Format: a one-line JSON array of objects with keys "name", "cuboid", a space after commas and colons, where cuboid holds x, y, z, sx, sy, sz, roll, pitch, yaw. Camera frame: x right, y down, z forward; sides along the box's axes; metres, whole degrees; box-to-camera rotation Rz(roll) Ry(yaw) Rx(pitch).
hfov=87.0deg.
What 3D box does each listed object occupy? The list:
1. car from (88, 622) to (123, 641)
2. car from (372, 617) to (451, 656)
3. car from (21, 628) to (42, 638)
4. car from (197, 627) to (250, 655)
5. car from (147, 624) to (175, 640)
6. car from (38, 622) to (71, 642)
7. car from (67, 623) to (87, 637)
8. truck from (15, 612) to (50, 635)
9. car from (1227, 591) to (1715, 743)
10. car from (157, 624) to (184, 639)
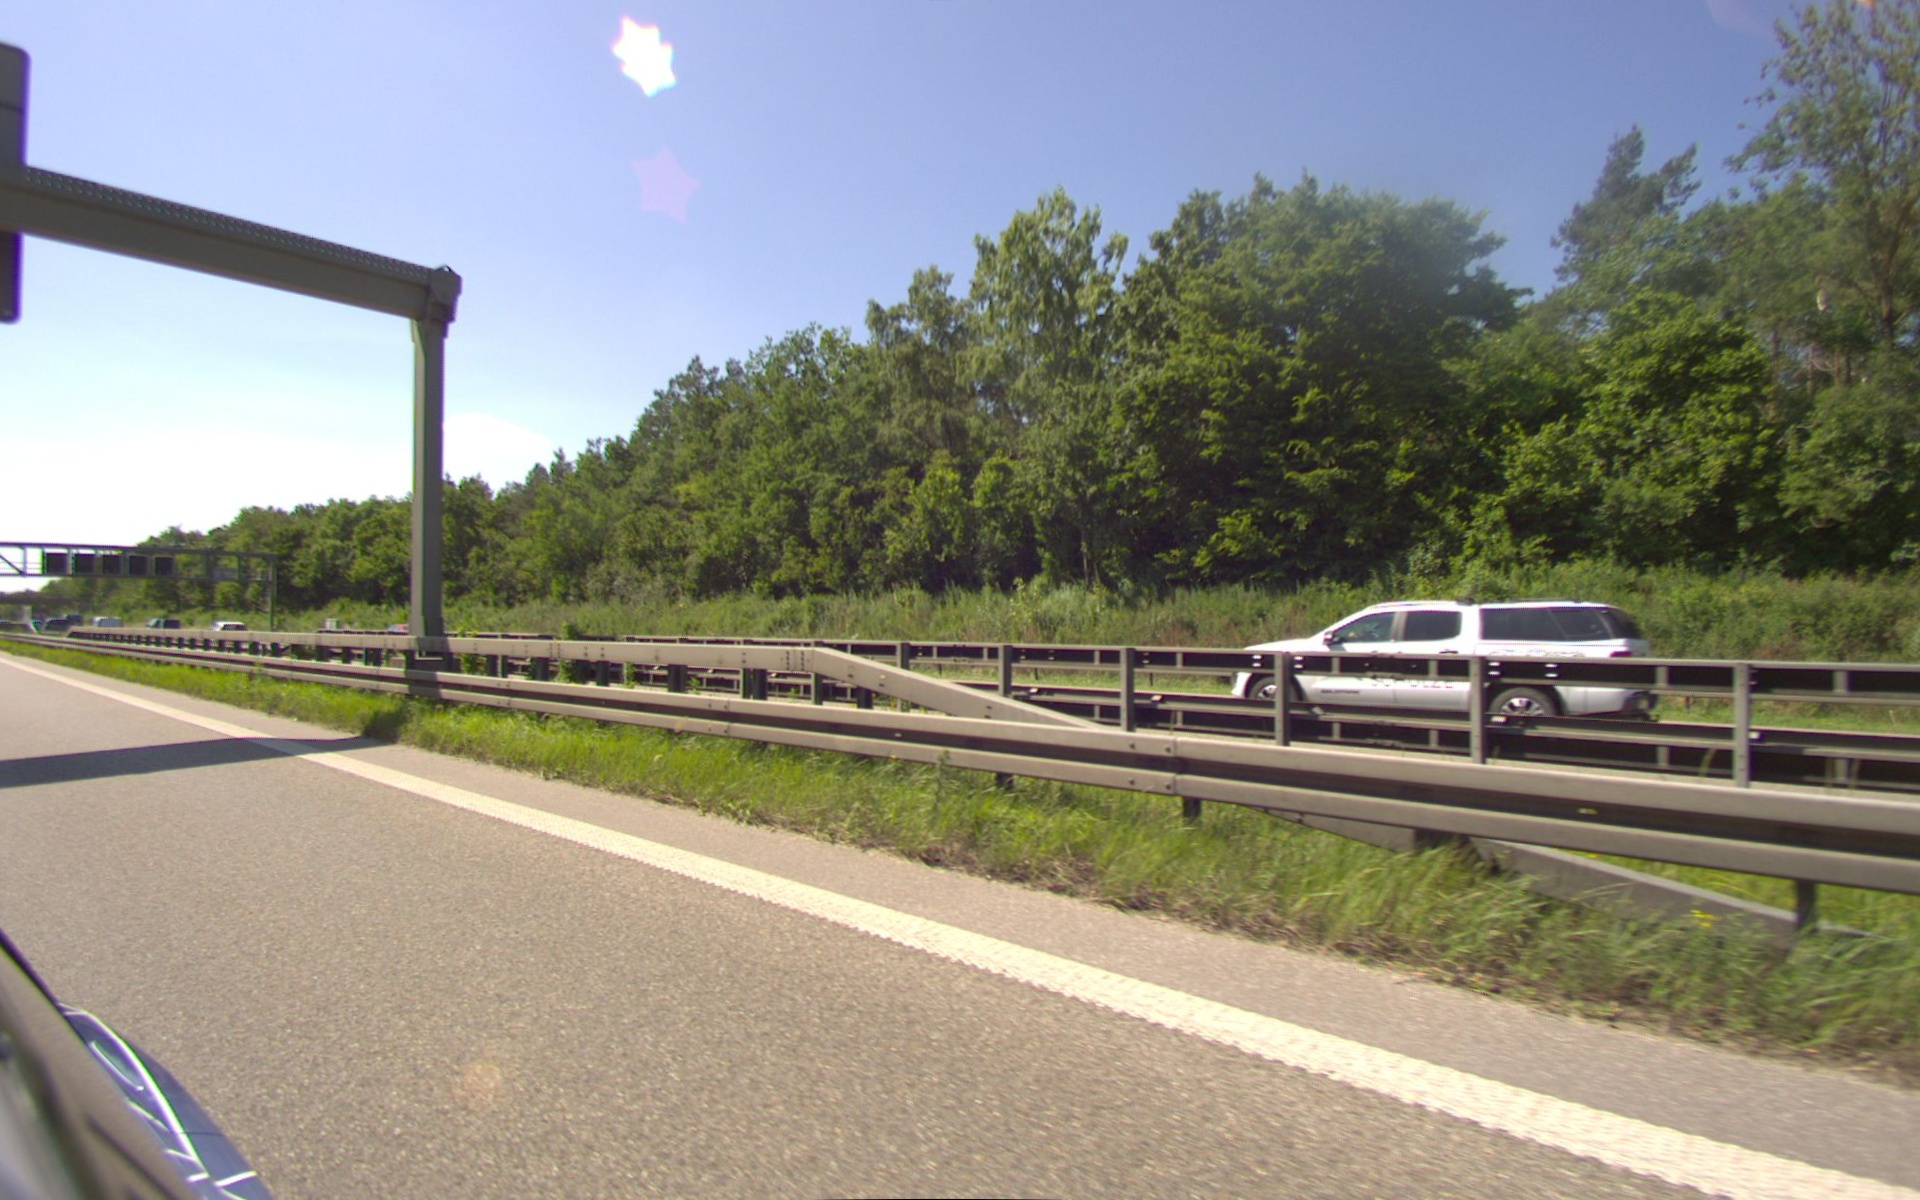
[{"name": "car", "cuboid": [-77.395, 2.834, 91.645, 3.795, 1.724, 1.924, -1, -2, 41]}, {"name": "car", "cuboid": [-21.855, 1.443, 40.266, 3.540, 1.453, 1.578, -1, -4, 41]}, {"name": "car", "cuboid": [-125.541, 4.458, 136.785, 3.678, 1.398, 1.638, -1, -2, 41]}, {"name": "car", "cuboid": [-40.943, 2.275, 56.243, 3.540, 1.453, 1.578, -1, -4, 41]}, {"name": "car", "cuboid": [-76.202, 3.005, 96.488, 3.388, 1.506, 1.522, -1, -2, 41]}, {"name": "car", "cuboid": [-78.462, 2.783, 87.700, 3.241, 1.724, 1.726, -1, -2, 41]}, {"name": "car", "cuboid": [-121.673, 4.154, 139.436, 3.678, 1.867, 1.638, -1, -2, 41]}, {"name": "truck", "cuboid": [-163.681, 4.123, 178.544, 9.646, 3.899, 3.558, -1, -2, 41]}, {"name": "car", "cuboid": [6.514, 0.826, 13.496, 5.539, 1.646, 1.758, -2, -4, 43]}, {"name": "car", "cuboid": [-73.380, 2.930, 94.046, 2.724, 1.372, 1.423, -1, -2, 41]}]
